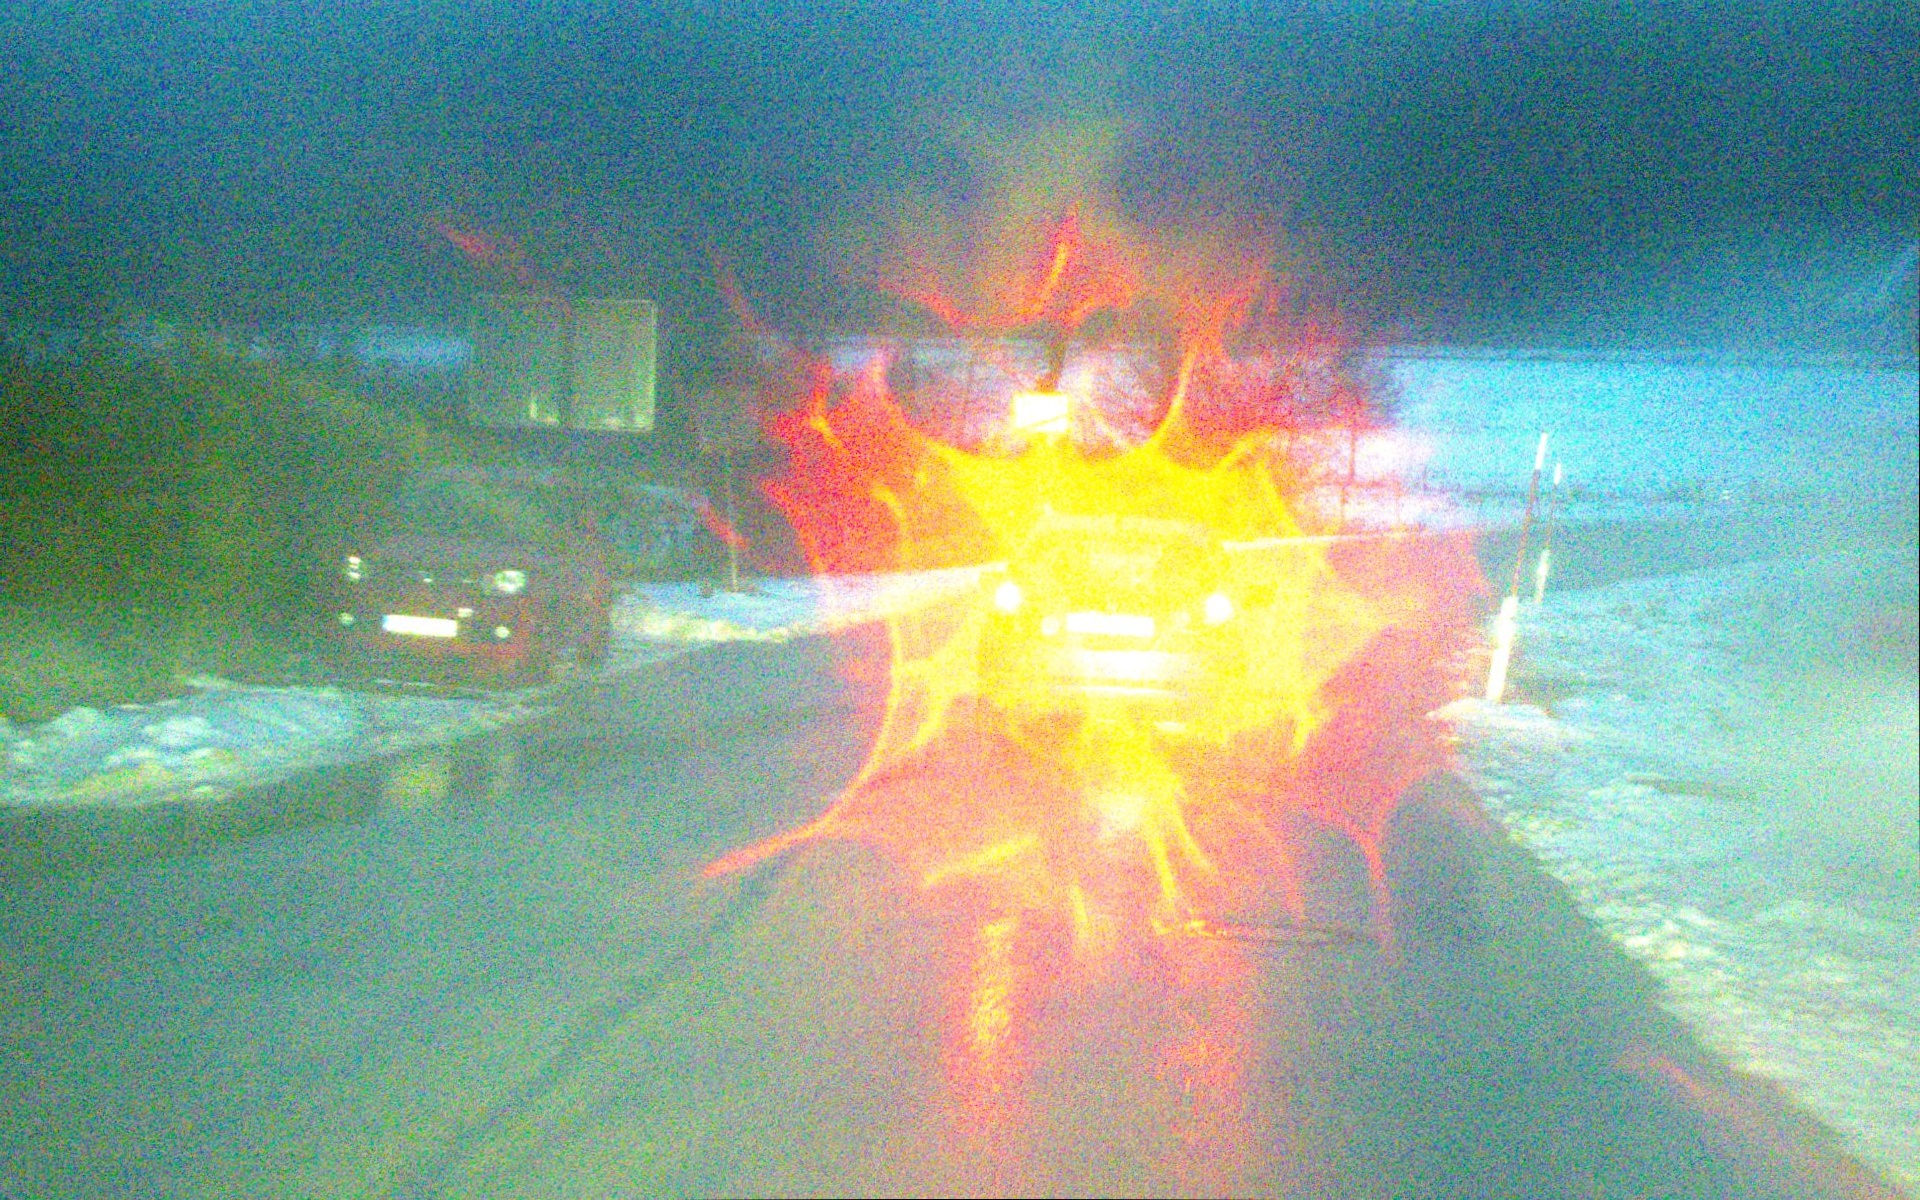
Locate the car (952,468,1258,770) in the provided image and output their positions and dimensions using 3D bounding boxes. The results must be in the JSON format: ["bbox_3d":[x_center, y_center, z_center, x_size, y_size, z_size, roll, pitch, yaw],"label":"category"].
[{"bbox_3d":[0.871,0.078,22.531,1.822,1.790,3.578,-1,1,0],"label":"car"}]

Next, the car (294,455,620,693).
[{"bbox_3d":[-3.748,-0.256,26.155,1.719,1.529,3.517,2,4,4],"label":"car"}]
